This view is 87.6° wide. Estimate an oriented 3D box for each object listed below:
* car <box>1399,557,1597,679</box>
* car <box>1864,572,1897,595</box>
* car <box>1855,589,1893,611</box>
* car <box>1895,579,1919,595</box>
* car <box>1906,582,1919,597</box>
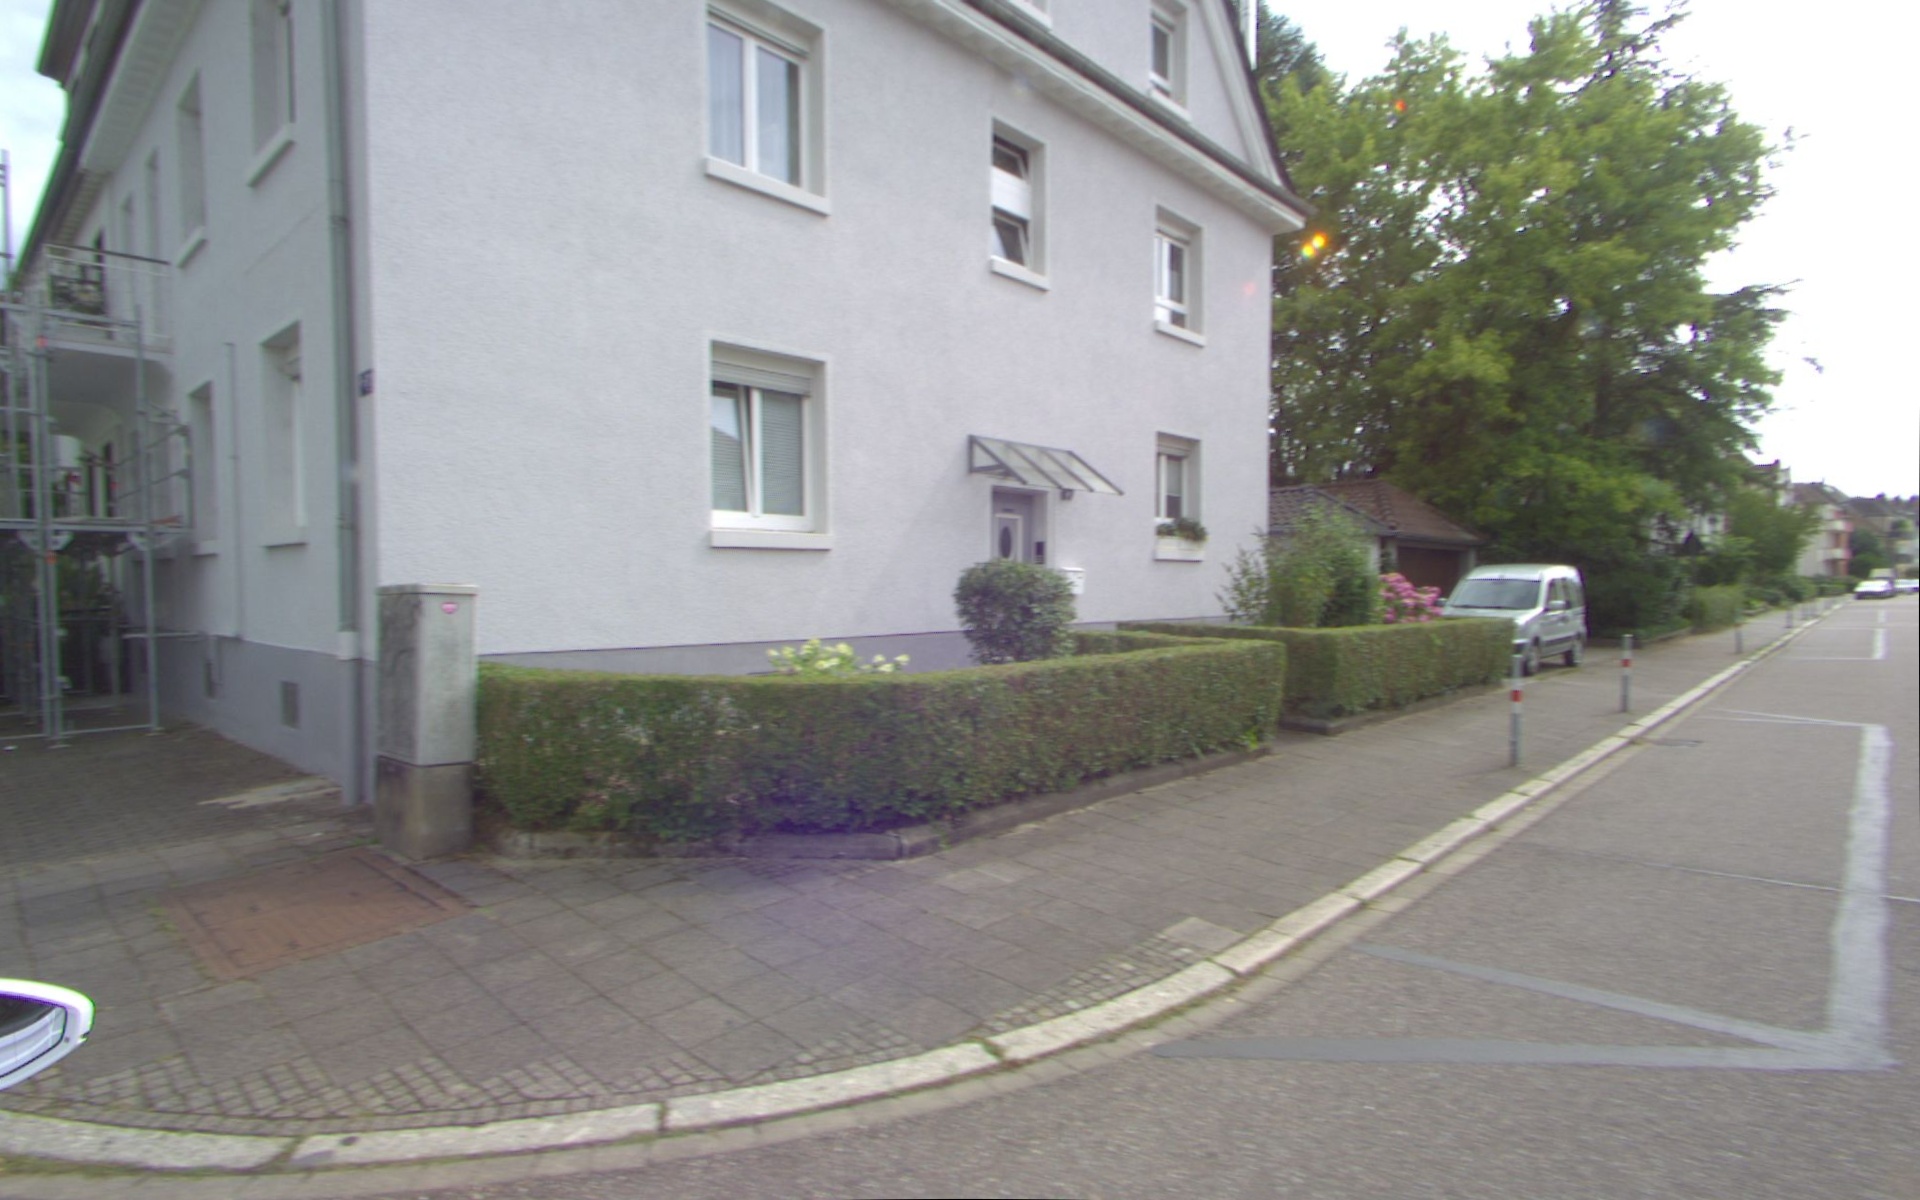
[{"bbox_3d":[9.377,0.233,17.328,1.979,1.863,3.961,1,2,45],"label":"car"},{"bbox_3d":[83.797,-1.541,91.134,3.961,2.041,1.980,-1,2,-45],"label":"car"},{"bbox_3d":[74.988,-0.020,82.133,3.959,1.662,1.980,-1,2,-43],"label":"car"},{"bbox_3d":[96.303,-1.332,101.512,3.959,1.662,1.981,-1,2,-43],"label":"car"},{"bbox_3d":[106.412,-1.199,110.833,3.952,1.557,1.985,-1,1,-38],"label":"car"}]
